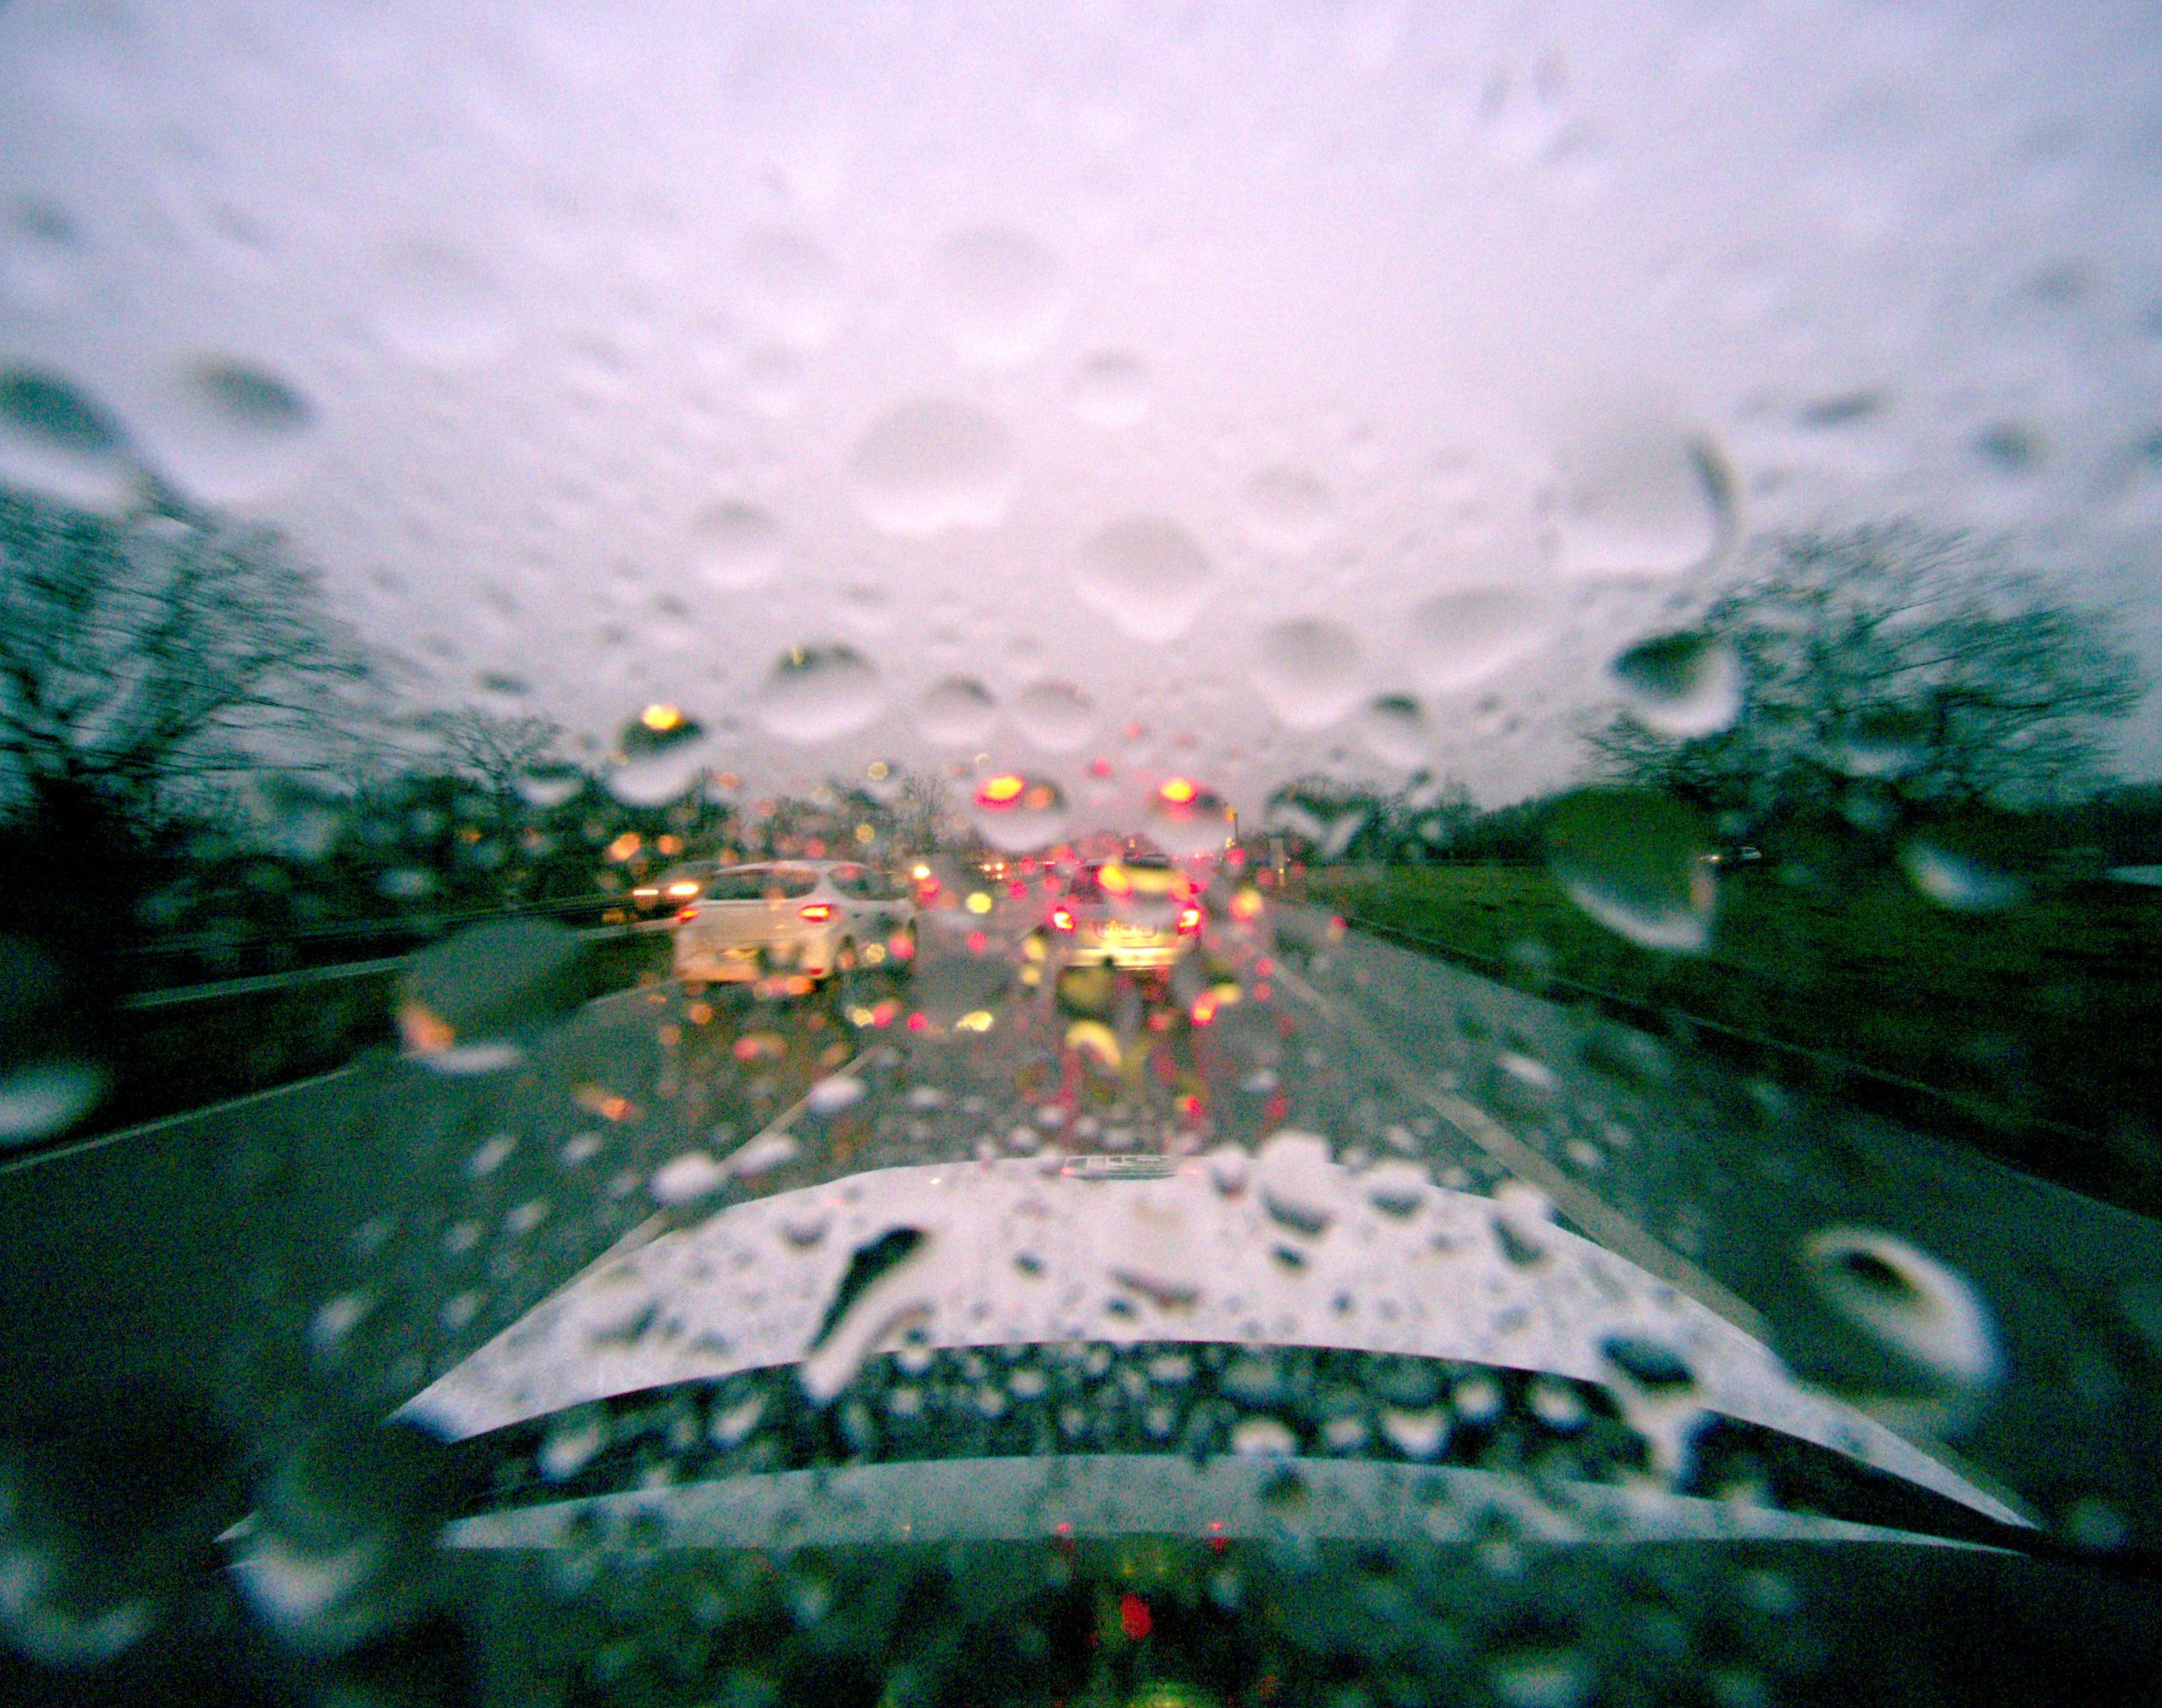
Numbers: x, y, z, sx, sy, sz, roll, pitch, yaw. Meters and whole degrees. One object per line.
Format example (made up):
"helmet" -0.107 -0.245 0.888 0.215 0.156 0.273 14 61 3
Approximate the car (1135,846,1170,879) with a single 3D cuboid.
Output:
"car" 4.147 0.468 47.338 1.888 1.767 4.315 -2 0 5

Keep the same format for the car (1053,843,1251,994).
"car" 0.883 0.682 10.456 1.984 1.500 4.142 -2 0 4

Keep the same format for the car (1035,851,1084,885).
"car" -1.017 0.640 40.411 1.984 1.601 4.314 0 0 4

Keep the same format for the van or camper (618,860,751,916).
"van or camper" -14.058 1.139 29.236 1.751 1.736 4.895 -2 0 9

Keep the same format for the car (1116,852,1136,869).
"car" 4.579 0.643 82.149 1.781 1.545 4.006 -2 0 5

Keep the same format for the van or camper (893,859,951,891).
"van or camper" -8.314 1.061 42.923 1.518 1.481 4.445 -2 0 9

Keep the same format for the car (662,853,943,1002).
"car" -3.154 0.742 10.265 1.715 1.440 4.232 -2 0 5

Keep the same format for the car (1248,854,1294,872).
"car" 16.765 0.797 71.981 1.800 1.545 3.963 -2 0 -29

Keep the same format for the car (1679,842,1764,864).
"car" 42.496 -0.080 54.114 3.963 1.345 2.005 -1 0 9
